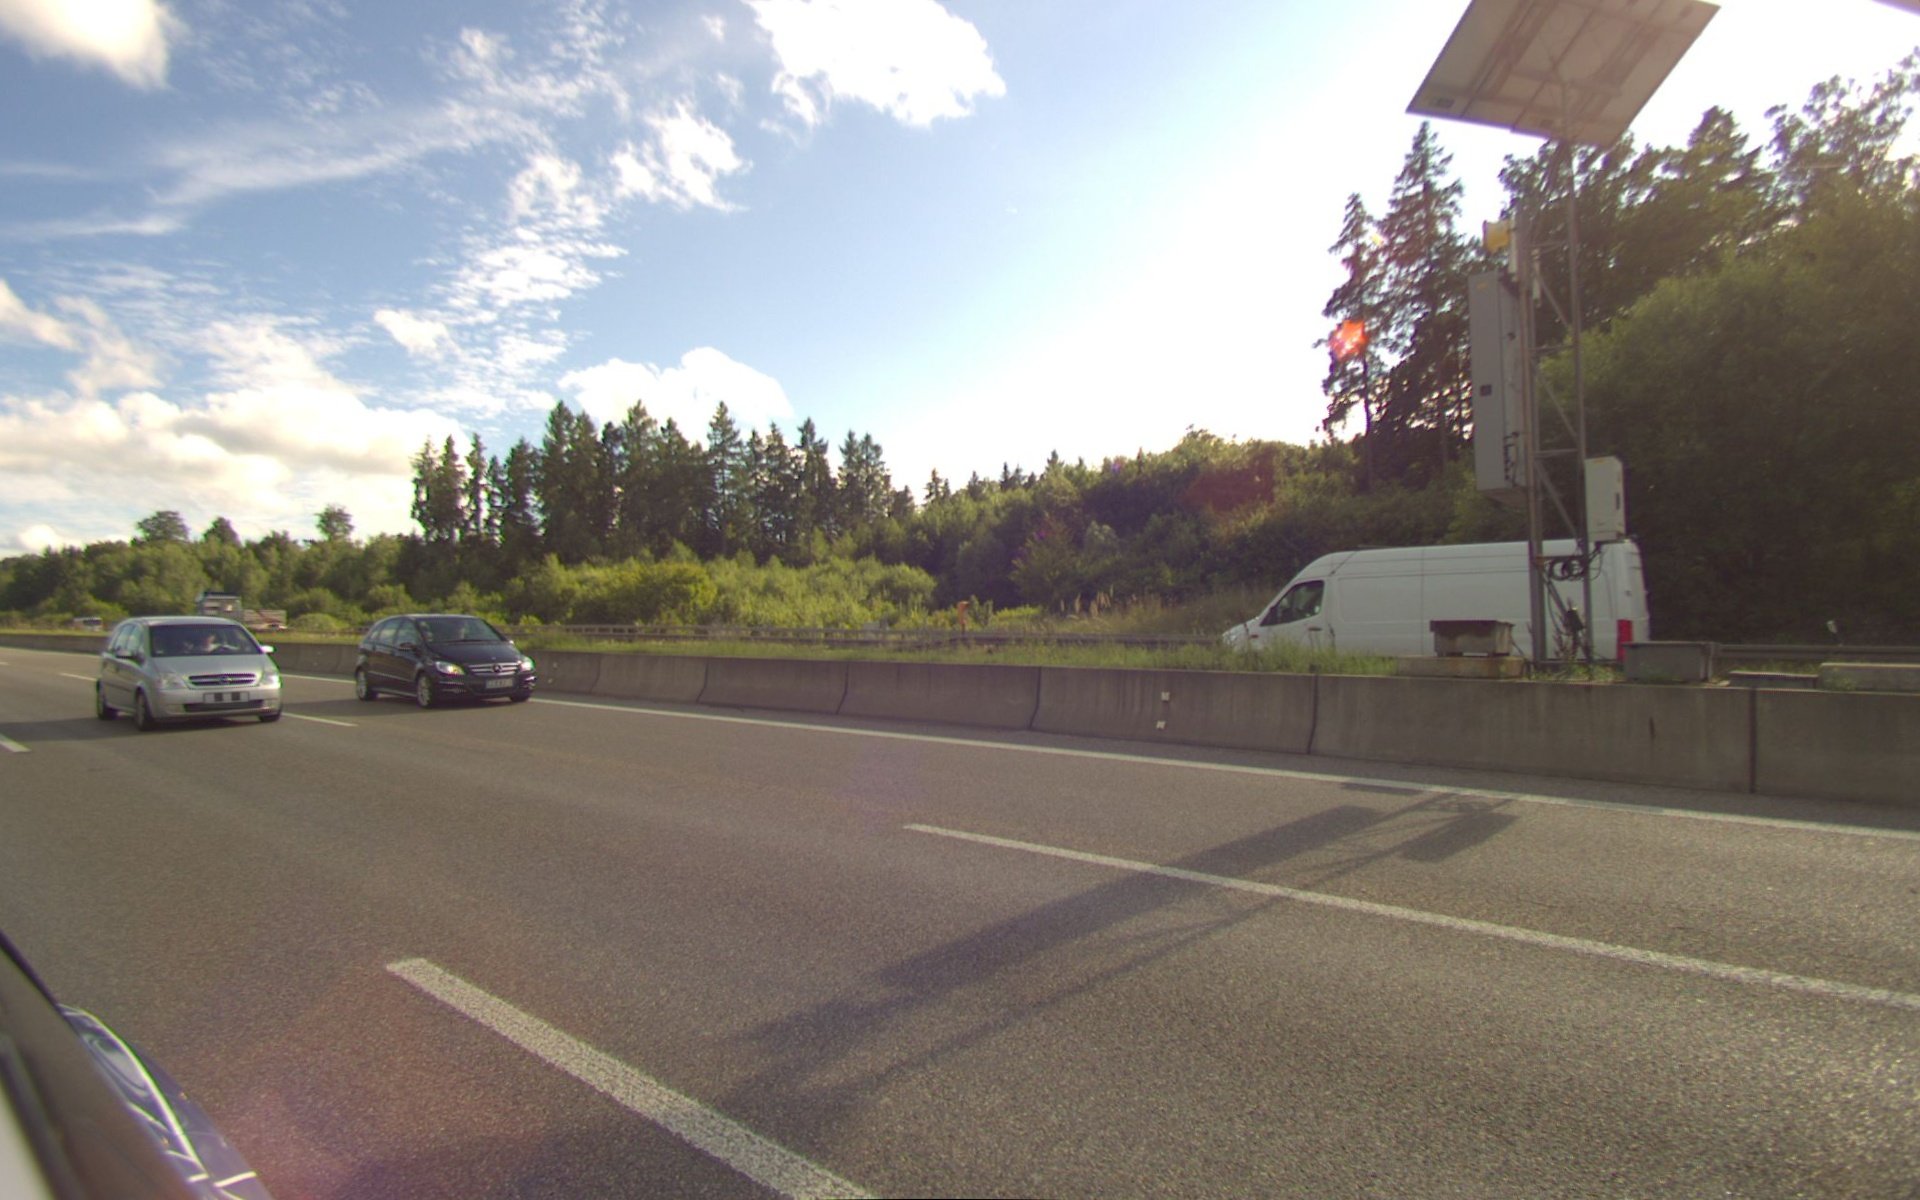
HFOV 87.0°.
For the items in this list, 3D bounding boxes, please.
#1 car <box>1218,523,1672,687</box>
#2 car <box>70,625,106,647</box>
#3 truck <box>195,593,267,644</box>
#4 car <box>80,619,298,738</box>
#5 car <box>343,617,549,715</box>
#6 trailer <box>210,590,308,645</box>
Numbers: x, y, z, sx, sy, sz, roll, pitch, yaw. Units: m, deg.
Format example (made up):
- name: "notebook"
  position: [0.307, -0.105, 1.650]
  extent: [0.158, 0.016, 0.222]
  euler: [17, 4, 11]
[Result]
- name: "car"
  position: [8.018, 0.143, 17.397]
  extent: [6.720, 2.330, 2.087]
  euler: [-2, -1, 41]
- name: "car"
  position: [-83.054, 3.392, 96.418]
  extent: [4.857, 2.029, 1.973]
  euler: [-2, -1, 41]
- name: "truck"
  position: [-57.537, 1.474, 79.835]
  extent: [7.119, 3.867, 3.082]
  euler: [-2, -1, 41]
- name: "car"
  position: [-11.775, 1.087, 15.349]
  extent: [4.331, 1.529, 1.816]
  euler: [-2, -1, 41]
- name: "car"
  position: [-9.254, 1.100, 18.075]
  extent: [4.331, 1.529, 1.816]
  euler: [-2, -1, 41]
- name: "trailer"
  position: [-52.315, 1.348, 75.309]
  extent: [12.202, 3.867, 3.092]
  euler: [-2, -1, 41]
